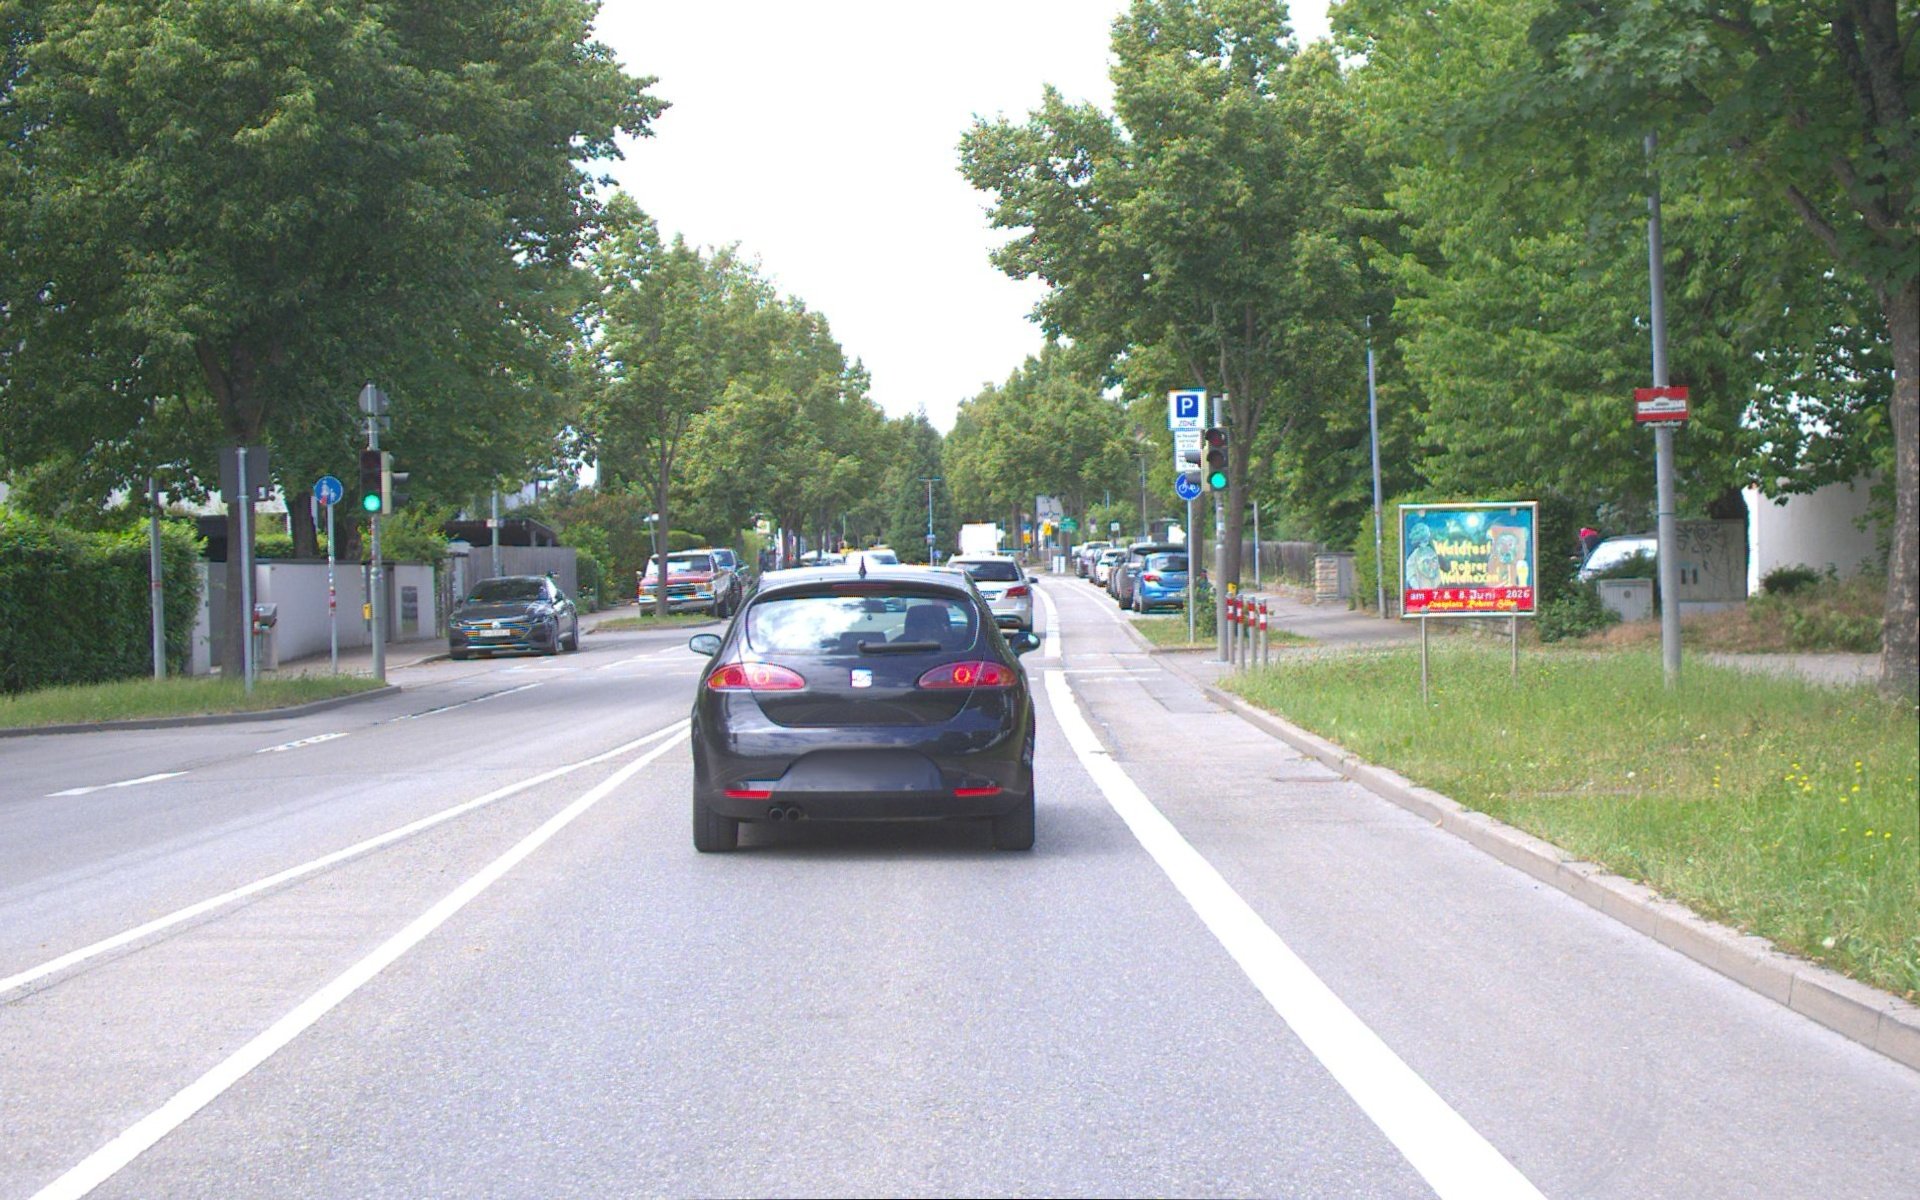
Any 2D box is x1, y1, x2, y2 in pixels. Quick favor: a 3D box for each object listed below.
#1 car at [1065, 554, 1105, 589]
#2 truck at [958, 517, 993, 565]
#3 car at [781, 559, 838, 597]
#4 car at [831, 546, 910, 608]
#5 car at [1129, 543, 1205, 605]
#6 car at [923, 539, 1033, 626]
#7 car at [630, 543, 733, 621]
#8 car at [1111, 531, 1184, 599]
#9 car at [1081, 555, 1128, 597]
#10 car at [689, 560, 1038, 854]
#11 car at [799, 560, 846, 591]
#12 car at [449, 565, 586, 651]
[{"bbox_3d":[5.730,-1.323,157.642,1.688,1.559,4.214,-1,1,1],"label":"car"},{"bbox_3d":[1.043,-3.954,232.376,2.279,3.093,8.511,1,0,0],"label":"truck"},{"bbox_3d":[-6.439,-0.957,147.835,2.100,1.501,5.784,-3,1,1],"label":"car"},{"bbox_3d":[-2.525,-0.663,97.863,1.875,1.629,4.340,-3,1,3],"label":"car"},{"bbox_3d":[5.092,-0.644,84.881,1.688,1.485,3.355,-1,1,1],"label":"car"},{"bbox_3d":[0.356,-0.315,62.304,1.846,1.504,3.811,1,0,2],"label":"car"},{"bbox_3d":[-7.299,-0.501,90.592,2.100,1.890,5.784,-3,1,1],"label":"car"},{"bbox_3d":[4.889,-0.926,89.904,1.688,1.706,4.214,-1,1,1],"label":"car"},{"bbox_3d":[5.590,-0.944,133.277,1.688,1.559,4.214,-1,1,1],"label":"car"},{"bbox_3d":[-0.485,0.501,18.455,1.663,1.396,3.812,1,0,-1],"label":"car"},{"bbox_3d":[-7.211,-1.298,180.675,2.100,1.501,5.784,-3,1,1],"label":"car"},{"bbox_3d":[-7.844,0.114,61.371,1.718,1.390,4.801,-3,1,1],"label":"car"}]
